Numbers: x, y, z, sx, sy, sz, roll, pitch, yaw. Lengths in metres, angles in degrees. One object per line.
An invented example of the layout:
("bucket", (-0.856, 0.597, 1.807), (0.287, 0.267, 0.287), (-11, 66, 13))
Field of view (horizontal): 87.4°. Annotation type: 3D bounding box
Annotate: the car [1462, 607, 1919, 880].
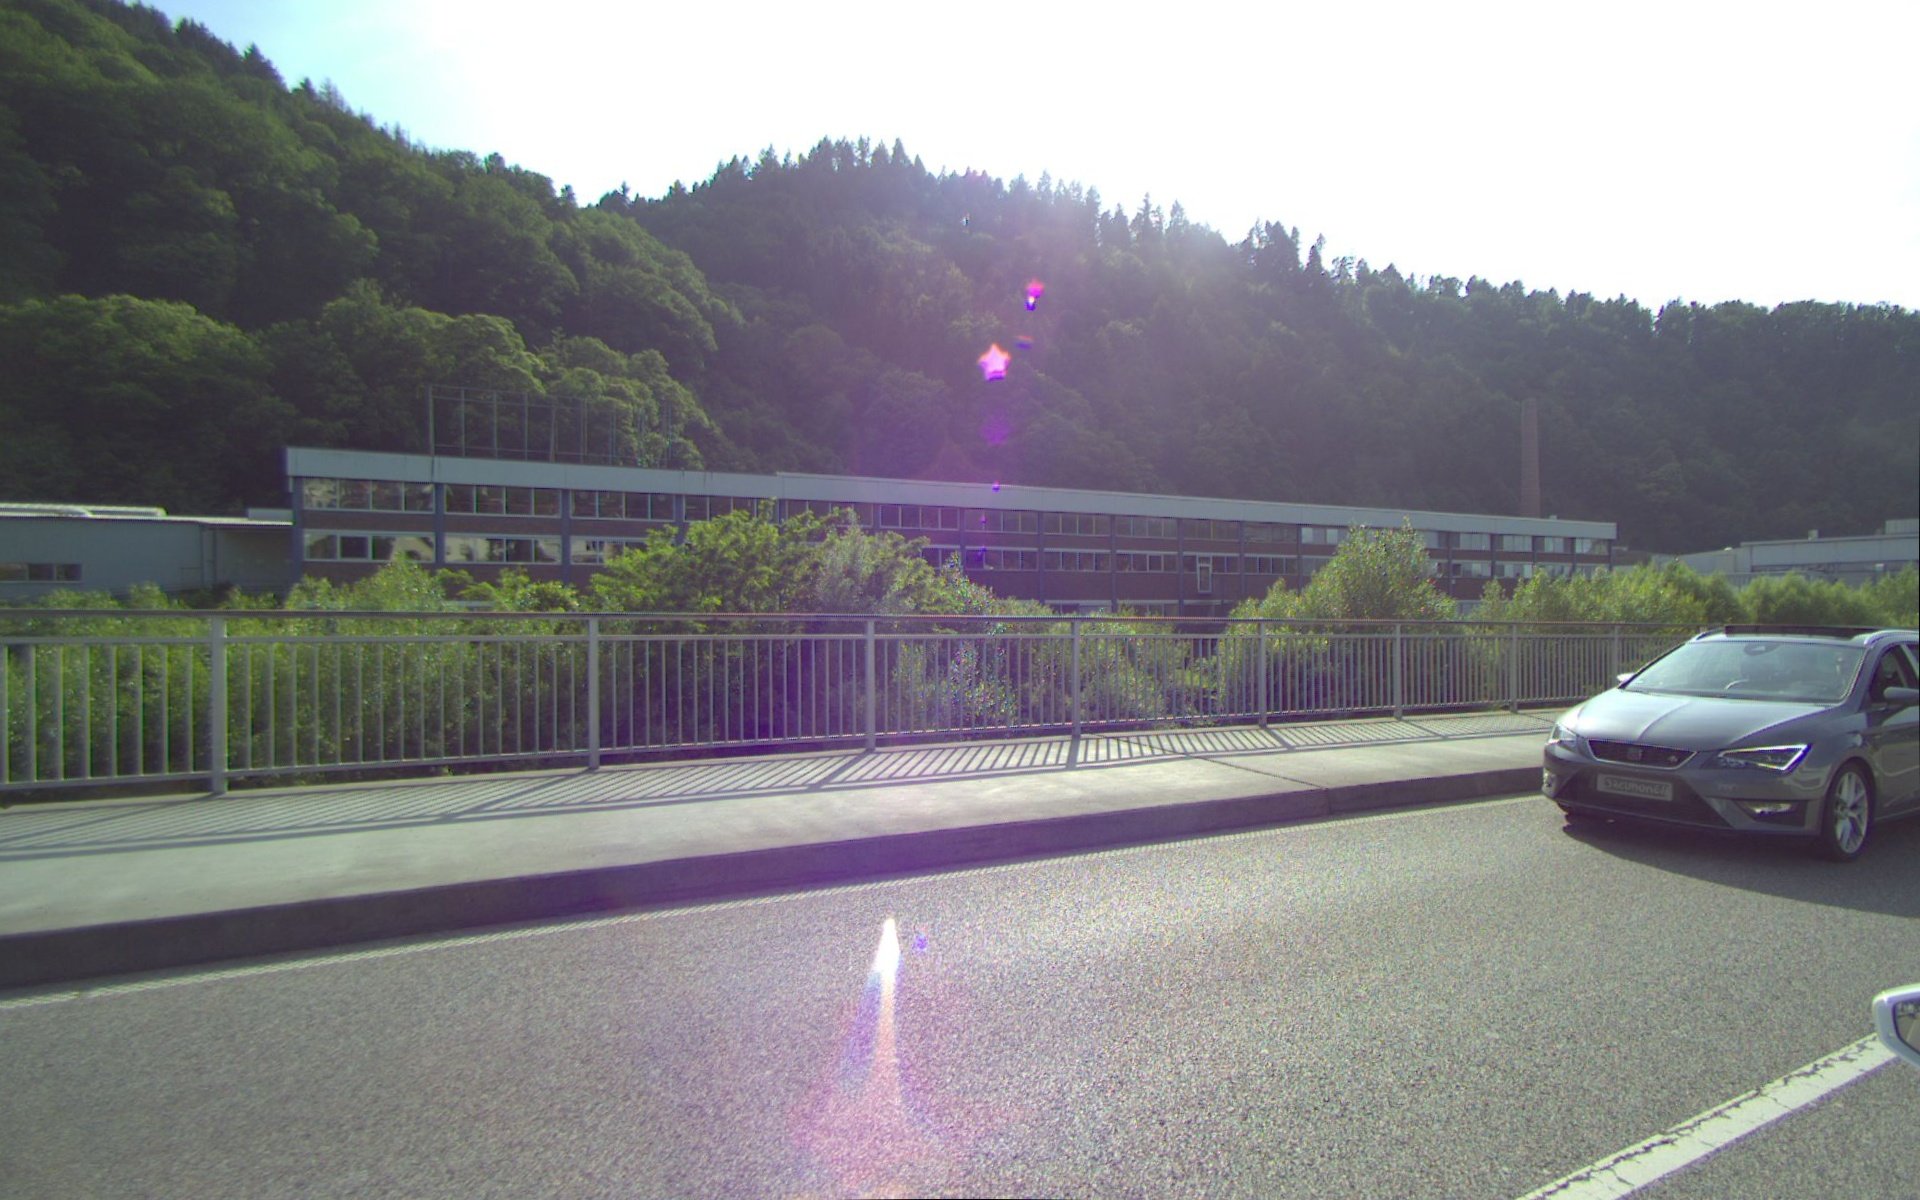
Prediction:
("car", (6.051, 0.876, 7.524), (4.741, 1.503, 1.805), (2, -2, -30))
